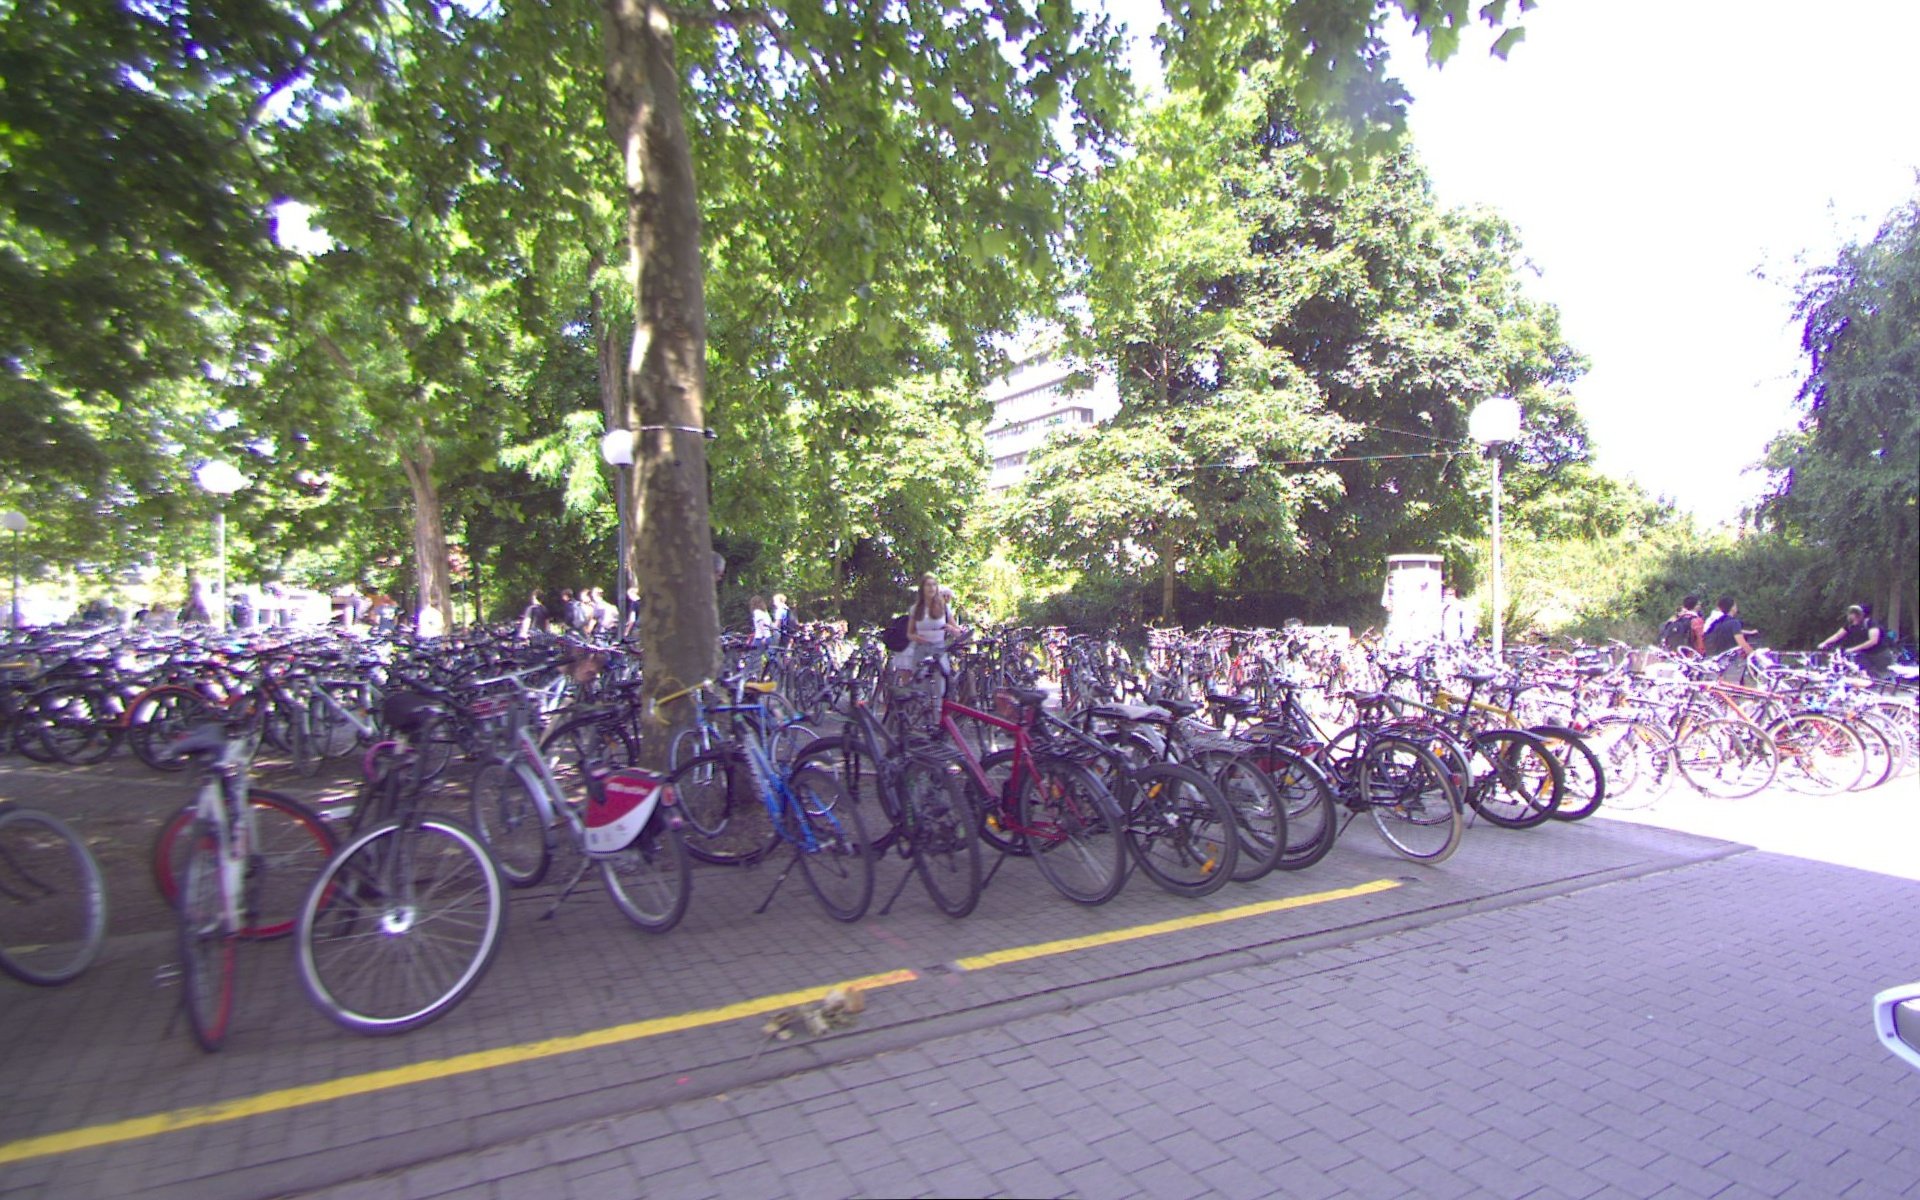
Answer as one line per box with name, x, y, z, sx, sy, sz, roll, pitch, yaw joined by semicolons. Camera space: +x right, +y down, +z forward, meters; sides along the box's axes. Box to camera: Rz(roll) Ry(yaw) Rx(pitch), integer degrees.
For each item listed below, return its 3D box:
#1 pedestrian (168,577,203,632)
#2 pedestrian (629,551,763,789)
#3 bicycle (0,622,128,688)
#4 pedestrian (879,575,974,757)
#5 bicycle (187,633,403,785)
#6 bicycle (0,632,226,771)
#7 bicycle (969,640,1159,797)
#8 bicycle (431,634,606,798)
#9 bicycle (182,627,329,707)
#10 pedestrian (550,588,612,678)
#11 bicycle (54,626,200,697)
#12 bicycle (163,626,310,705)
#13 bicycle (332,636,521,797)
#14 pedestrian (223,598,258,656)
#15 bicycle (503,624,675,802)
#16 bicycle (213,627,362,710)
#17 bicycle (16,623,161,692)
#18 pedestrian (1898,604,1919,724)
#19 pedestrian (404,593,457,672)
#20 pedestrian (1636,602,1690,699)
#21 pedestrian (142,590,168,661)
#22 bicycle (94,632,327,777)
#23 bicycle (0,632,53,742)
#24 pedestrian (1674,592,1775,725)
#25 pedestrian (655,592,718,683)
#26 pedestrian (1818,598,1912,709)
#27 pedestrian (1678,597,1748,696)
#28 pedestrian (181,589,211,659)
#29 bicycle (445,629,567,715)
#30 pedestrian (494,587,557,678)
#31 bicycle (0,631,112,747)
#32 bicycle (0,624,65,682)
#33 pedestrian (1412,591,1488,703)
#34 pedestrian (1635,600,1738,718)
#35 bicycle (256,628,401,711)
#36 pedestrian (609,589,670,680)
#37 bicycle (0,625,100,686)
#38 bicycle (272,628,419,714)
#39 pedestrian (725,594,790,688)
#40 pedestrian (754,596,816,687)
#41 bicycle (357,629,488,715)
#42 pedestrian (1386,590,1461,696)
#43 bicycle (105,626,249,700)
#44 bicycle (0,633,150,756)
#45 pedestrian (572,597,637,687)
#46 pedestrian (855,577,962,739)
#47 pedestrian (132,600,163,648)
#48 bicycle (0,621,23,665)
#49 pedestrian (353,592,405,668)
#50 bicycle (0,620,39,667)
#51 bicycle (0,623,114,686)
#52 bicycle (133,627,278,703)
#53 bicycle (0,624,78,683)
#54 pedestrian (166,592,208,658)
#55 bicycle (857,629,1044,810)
pedestrian;-25.809;0.134;33.465;0.894;1.798;0.766;1;0;42
pedestrian;-2.140;0.536;8.185;0.756;1.831;0.709;1;0;27
bicycle;-16.017;0.944;17.879;0.465;1.098;1.858;1;0;22
pedestrian;-0.317;0.634;10.115;0.754;1.725;0.907;1;0;11
bicycle;-5.604;0.865;8.590;0.492;1.123;1.701;1;0;10
bicycle;-7.811;0.883;9.347;0.492;1.123;1.701;1;0;10
bicycle;0.827;0.928;8.420;0.499;1.123;1.679;1;0;-41
bicycle;-3.473;0.862;8.066;0.492;1.123;1.700;1;0;6
bicycle;-10.563;0.971;15.141;0.465;1.098;1.858;1;0;22
pedestrian;-7.780;0.665;20.612;0.890;1.798;0.769;1;0;26
bicycle;-13.824;0.988;16.733;0.465;1.098;1.858;1;0;22
bicycle;-11.025;0.967;15.380;0.465;1.098;1.858;1;0;22
bicycle;-4.317;0.891;8.272;0.492;1.123;1.700;1;0;6
pedestrian;-22.360;0.829;31.217;0.761;1.798;0.900;1;0;-30
bicycle;-2.872;0.820;7.970;0.564;1.215;1.700;1;0;6
bicycle;-9.810;0.966;14.738;0.465;1.098;1.858;1;0;22
bicycle;-14.899;0.947;17.243;0.465;1.098;1.858;1;0;22
pedestrian;14.330;0.938;14.709;0.723;1.747;0.680;1;1;-32
pedestrian;-12.368;0.735;23.468;0.893;1.798;0.767;1;0;38
pedestrian;13.079;0.924;18.697;0.673;1.747;0.731;0;-1;23
pedestrian;-20.578;0.647;25.684;0.498;1.795;0.664;1;0;-38
bicycle;-6.656;0.879;9.042;0.618;1.123;1.701;1;0;10
bicycle;-10.369;0.897;10.033;0.493;1.123;1.906;1;0;22
pedestrian;10.921;0.823;14.371;0.922;1.860;0.686;0;0;4
pedestrian;-5.324;0.716;19.561;0.890;1.702;0.769;1;0;26
pedestrian;15.539;0.904;17.264;1.029;1.860;0.614;1;0;1
pedestrian;13.635;0.830;18.214;0.921;1.747;0.676;0;-1;30
pedestrian;-19.915;0.623;26.183;0.604;1.798;0.652;1;0;-38
bicycle;-6.309;0.968;14.052;0.465;1.098;1.699;1;0;22
pedestrian;-8.836;0.656;20.450;0.890;1.798;0.769;1;0;26
bicycle;-9.733;0.895;10.116;0.493;1.123;1.779;1;0;22
bicycle;-18.642;1.030;19.515;0.465;1.098;1.858;1;0;22
pedestrian;8.328;0.781;17.098;0.865;1.839;0.835;1;0;-1
pedestrian;10.965;0.872;15.186;1.043;1.747;0.719;0;0;2
bicycle;-9.118;0.968;14.591;0.465;1.098;1.858;1;0;22
pedestrian;-6.526;0.691;20.455;0.890;1.798;0.769;1;0;26
bicycle;-17.583;1.030;19.105;0.465;1.098;1.858;1;0;22
bicycle;-8.663;0.969;14.255;0.465;1.098;1.858;1;0;22
pedestrian;-3.774;0.745;18.777;0.890;1.702;0.769;1;0;26
pedestrian;-3.399;0.782;19.514;0.890;1.702;0.769;1;0;26
bicycle;-7.474;0.971;14.053;0.465;1.098;1.699;1;0;22
pedestrian;8.257;0.752;17.912;0.964;1.828;0.770;1;0;1
bicycle;-12.760;0.996;16.436;0.465;1.098;1.858;1;0;22
bicycle;-9.085;0.900;9.824;0.493;1.123;1.779;1;0;22
pedestrian;-6.922;0.806;19.579;0.890;1.702;0.769;1;0;26
pedestrian;-0.579;0.618;11.265;0.899;1.725;0.761;1;0;-39
pedestrian;-31.410;0.905;38.828;0.894;1.826;0.766;1;0;42
bicycle;-24.185;1.057;24.508;0.465;1.098;1.856;1;0;28
pedestrian;-13.964;0.707;24.140;0.892;1.798;0.767;1;0;37
bicycle;-23.177;1.037;23.861;0.465;1.098;1.856;1;0;28
bicycle;-17.028;0.985;18.761;0.465;1.098;1.858;1;0;22
bicycle;-11.918;0.991;15.935;0.465;1.098;1.858;1;0;22
bicycle;-18.124;1.014;19.218;0.465;1.098;1.858;1;0;22
pedestrian;-21.625;0.684;28.089;0.894;1.798;0.766;1;0;42
bicycle;-0.119;0.878;7.970;0.499;1.236;1.679;1;0;-41
